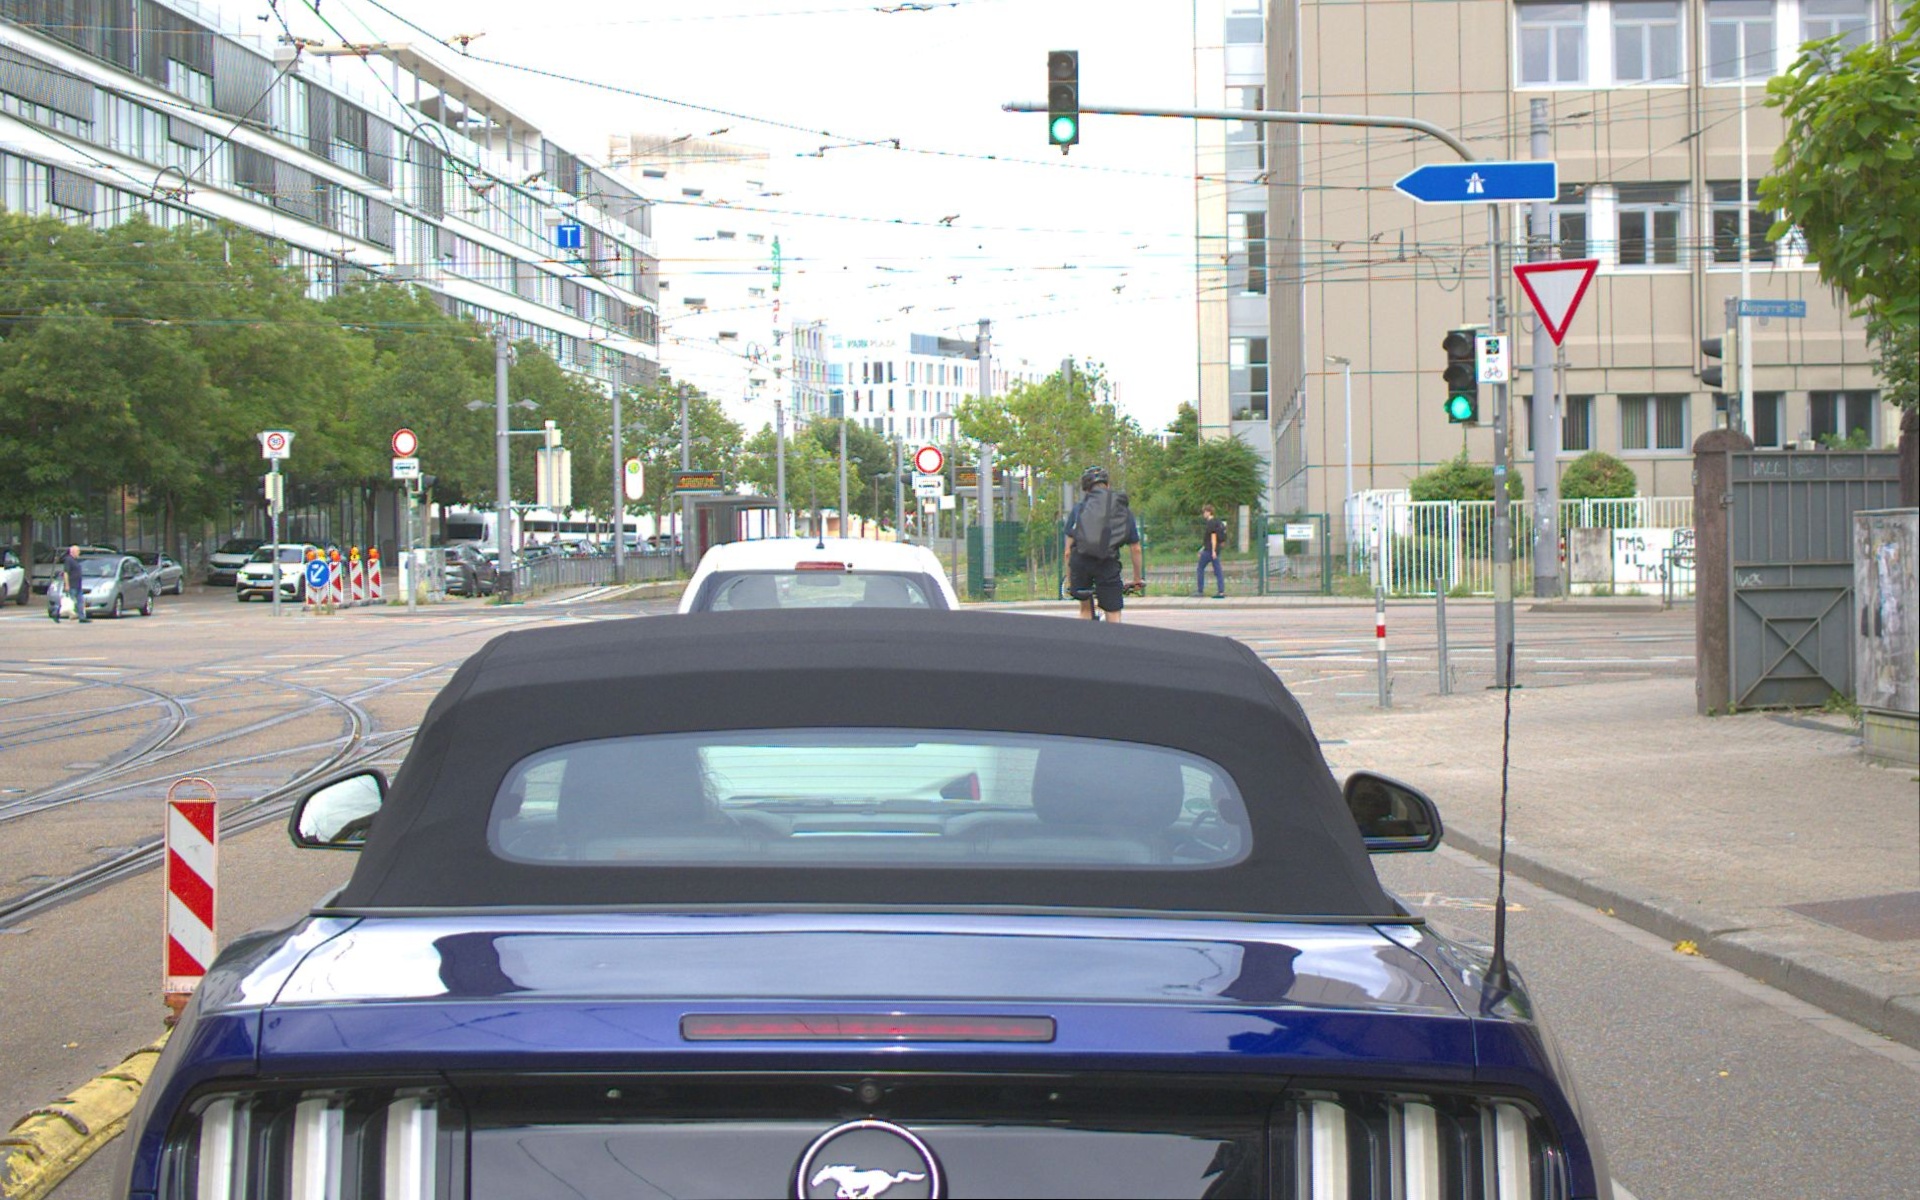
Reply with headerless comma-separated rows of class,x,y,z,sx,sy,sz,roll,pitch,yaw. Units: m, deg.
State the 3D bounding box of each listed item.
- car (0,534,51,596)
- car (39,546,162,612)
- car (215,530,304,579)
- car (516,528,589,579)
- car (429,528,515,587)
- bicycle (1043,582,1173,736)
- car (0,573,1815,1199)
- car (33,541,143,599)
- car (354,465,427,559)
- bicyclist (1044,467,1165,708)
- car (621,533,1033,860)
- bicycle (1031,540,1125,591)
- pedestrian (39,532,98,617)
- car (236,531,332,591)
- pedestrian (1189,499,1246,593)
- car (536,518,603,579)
car,-25.616,-0.941,90.882,1.830,1.551,4.216,1,1,3
car,-20.710,-0.527,82.954,1.668,1.501,4.234,1,1,3
car,-23.677,-1.565,116.337,1.986,1.551,4.512,1,1,1
car,-13.099,-1.509,110.775,1.868,1.600,4.213,-1,1,-1
car,-13.778,-1.217,97.242,1.879,1.623,4.087,-1,1,-1
bicycle,1.111,0.426,26.283,0.800,1.082,2.132,-1,1,-2
car,-0.145,0.696,5.420,1.876,1.399,4.282,1,1,0
car,-24.852,-0.874,98.148,1.830,1.551,4.216,1,1,3
car,-22.386,-3.462,135.327,1.986,3.624,4.512,1,1,1
bicyclist,1.093,-0.105,26.200,0.796,1.779,1.233,-1,1,-2
car,-0.766,0.392,17.574,1.835,1.434,4.188,-1,1,-5
bicycle,2.497,-0.726,73.028,0.632,0.977,2.157,-2,-1,-42
pedestrian,-19.864,-0.573,76.641,0.989,1.849,0.901,-1,1,7
car,-19.634,-1.151,99.958,1.715,1.654,4.133,1,1,3
pedestrian,5.283,-1.112,70.449,1.086,1.891,0.901,-1,1,8
car,-13.142,-1.748,115.940,1.785,1.980,4.121,-1,1,-1
